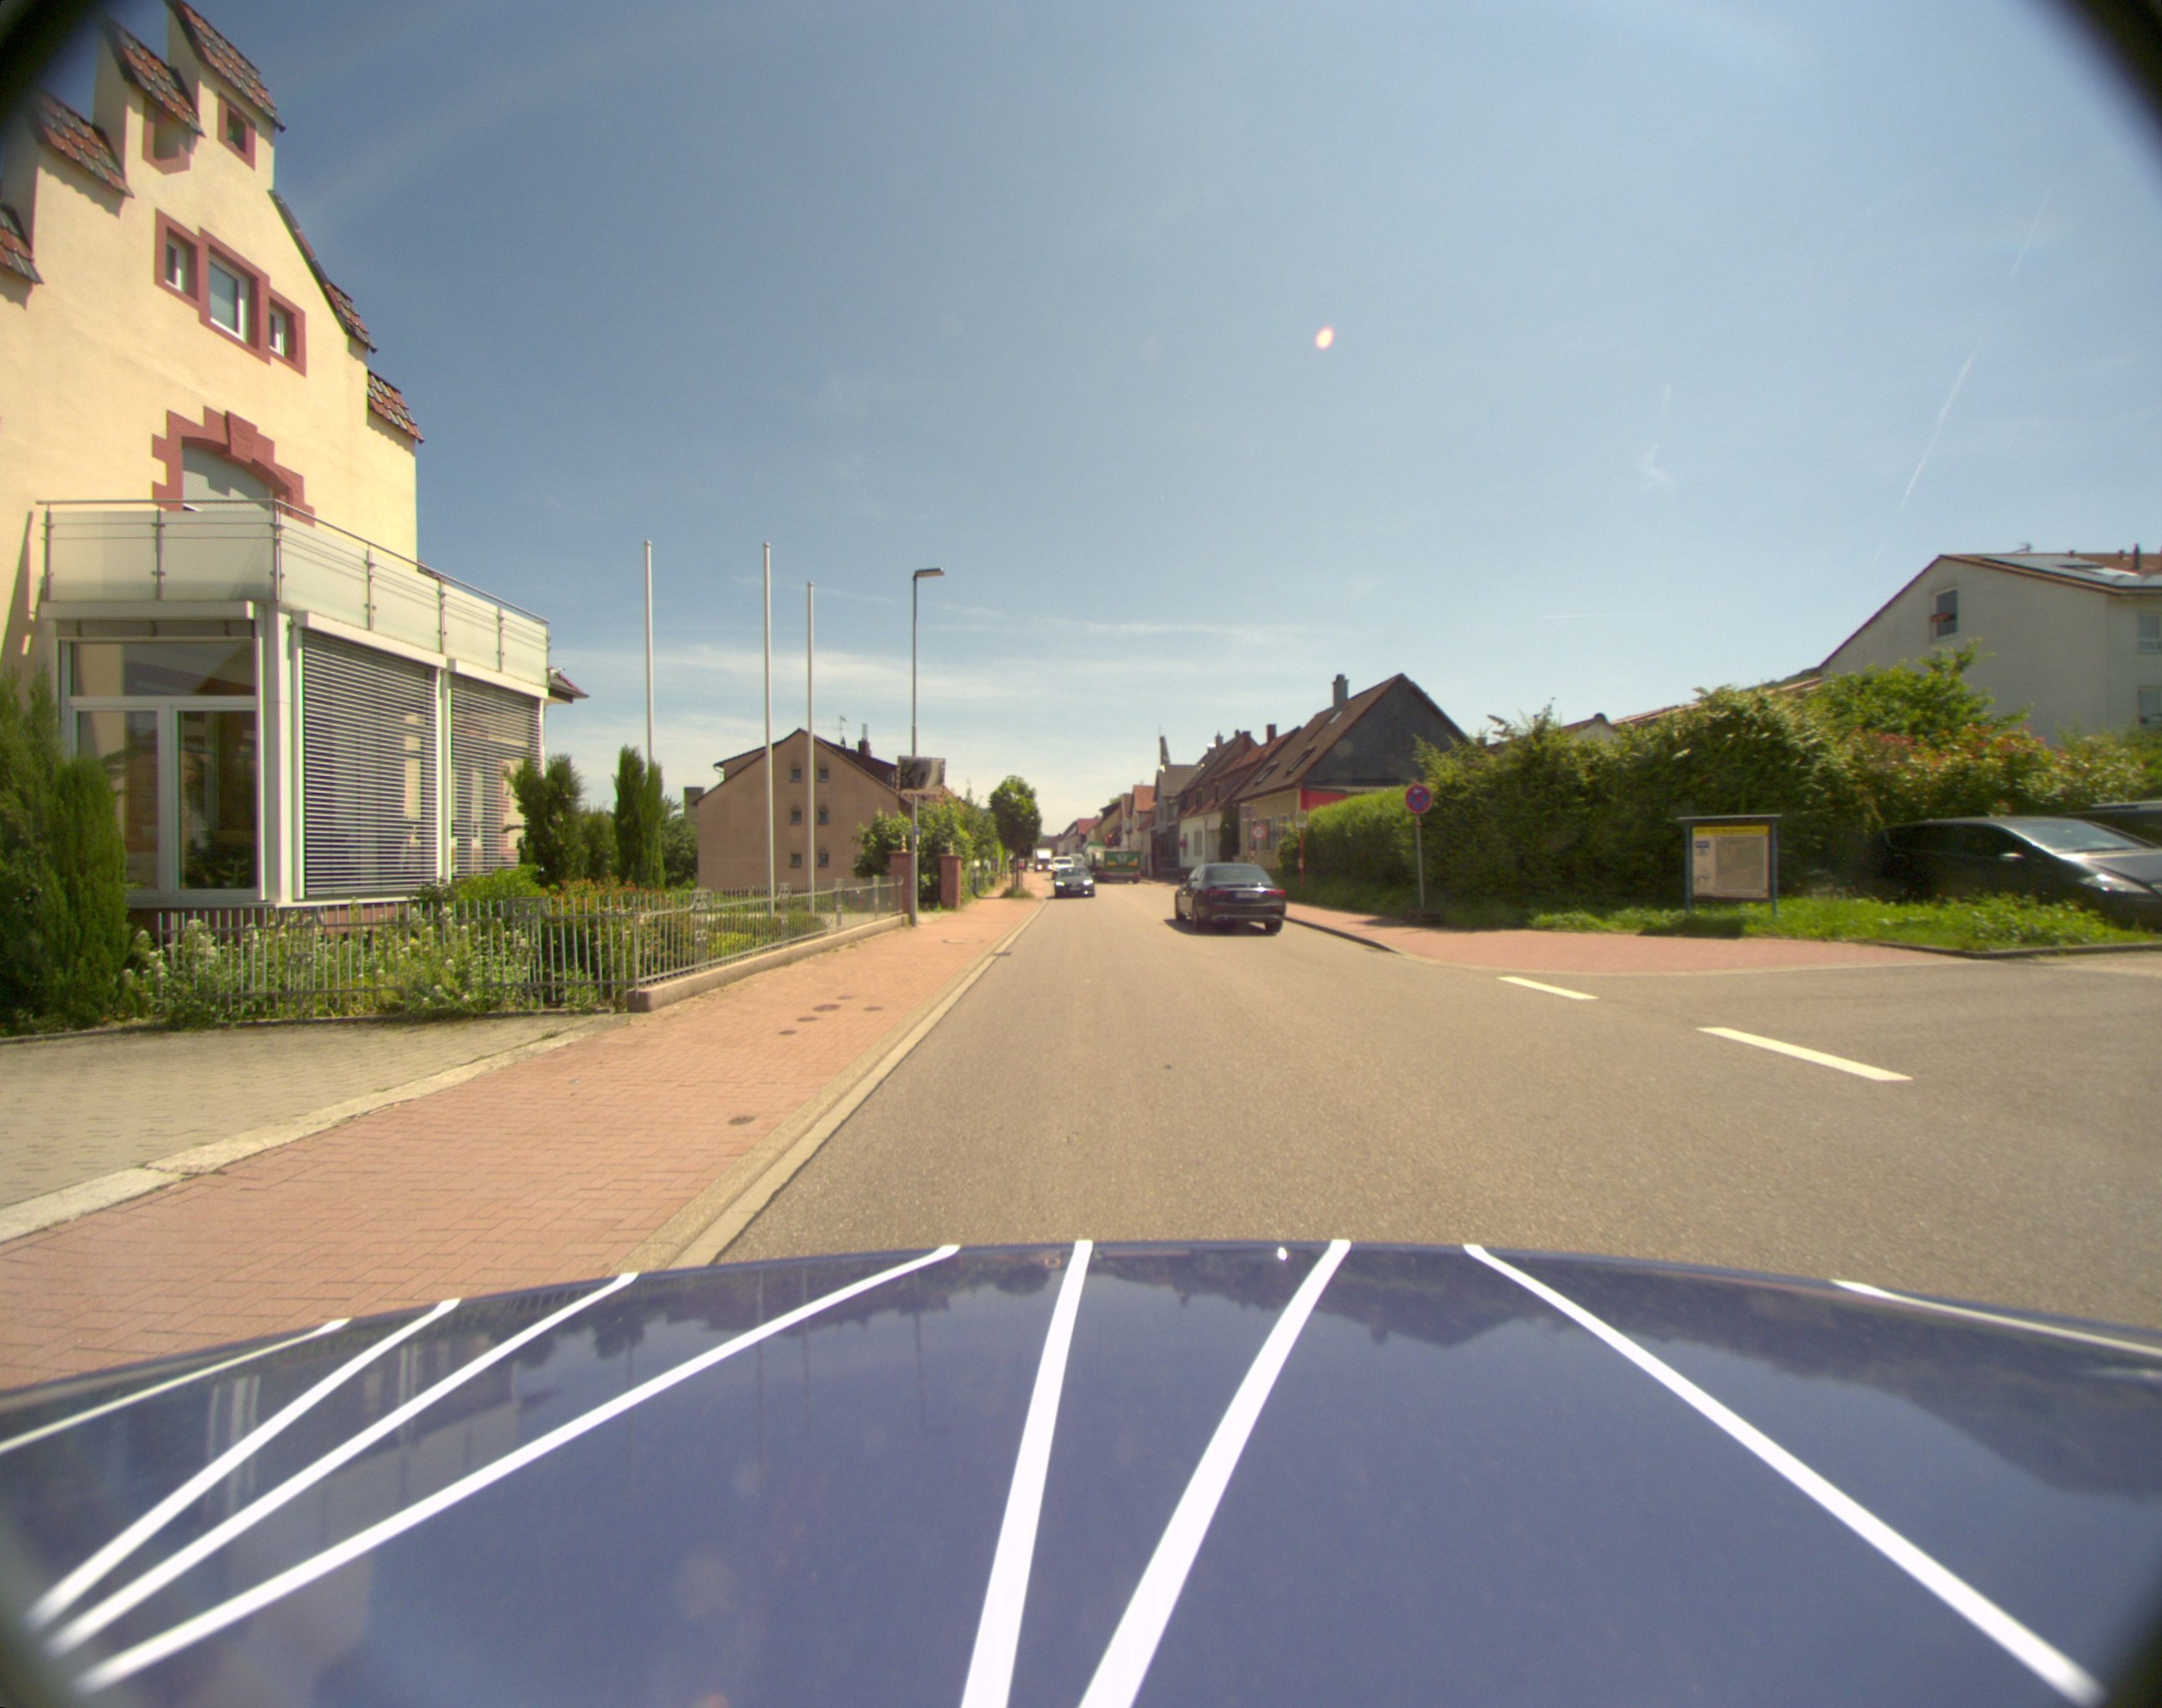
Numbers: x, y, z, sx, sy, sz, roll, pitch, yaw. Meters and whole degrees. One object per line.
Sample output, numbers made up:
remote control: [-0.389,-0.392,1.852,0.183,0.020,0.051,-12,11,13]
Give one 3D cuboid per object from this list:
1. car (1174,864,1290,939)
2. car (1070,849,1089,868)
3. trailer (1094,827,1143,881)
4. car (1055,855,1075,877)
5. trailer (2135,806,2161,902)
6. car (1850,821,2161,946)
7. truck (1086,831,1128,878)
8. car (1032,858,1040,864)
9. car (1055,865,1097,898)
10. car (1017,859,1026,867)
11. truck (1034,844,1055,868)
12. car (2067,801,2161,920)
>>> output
car: [3.303,0.967,17.496,1.734,1.451,4.694,0,0,0]
car: [-0.236,0.609,98.557,2.035,2.446,6.066,0,0,-3]
trailer: [2.592,0.015,55.190,2.537,3.627,8.458,0,0,-4]
car: [-1.415,1.011,65.391,1.637,1.833,3.569,-1,0,-2]
trailer: [19.506,-0.049,12.147,1.430,1.654,2.692,-5,0,-4]
car: [14.240,0.350,11.478,1.627,1.531,3.653,-4,0,4]
truck: [2.052,0.047,64.455,2.574,3.678,10.074,0,0,-4]
car: [-10.465,1.644,176.647,1.508,1.432,3.534,-3,1,-5]
car: [-0.276,1.200,34.352,1.705,1.346,3.999,-2,0,-2]
car: [-11.640,1.720,148.787,1.637,1.572,3.568,1,0,-4]
truck: [-5.734,0.281,117.605,2.899,3.516,12.948,-1,0,-4]
car: [16.990,0.058,10.720,1.627,1.769,3.511,-4,0,4]
